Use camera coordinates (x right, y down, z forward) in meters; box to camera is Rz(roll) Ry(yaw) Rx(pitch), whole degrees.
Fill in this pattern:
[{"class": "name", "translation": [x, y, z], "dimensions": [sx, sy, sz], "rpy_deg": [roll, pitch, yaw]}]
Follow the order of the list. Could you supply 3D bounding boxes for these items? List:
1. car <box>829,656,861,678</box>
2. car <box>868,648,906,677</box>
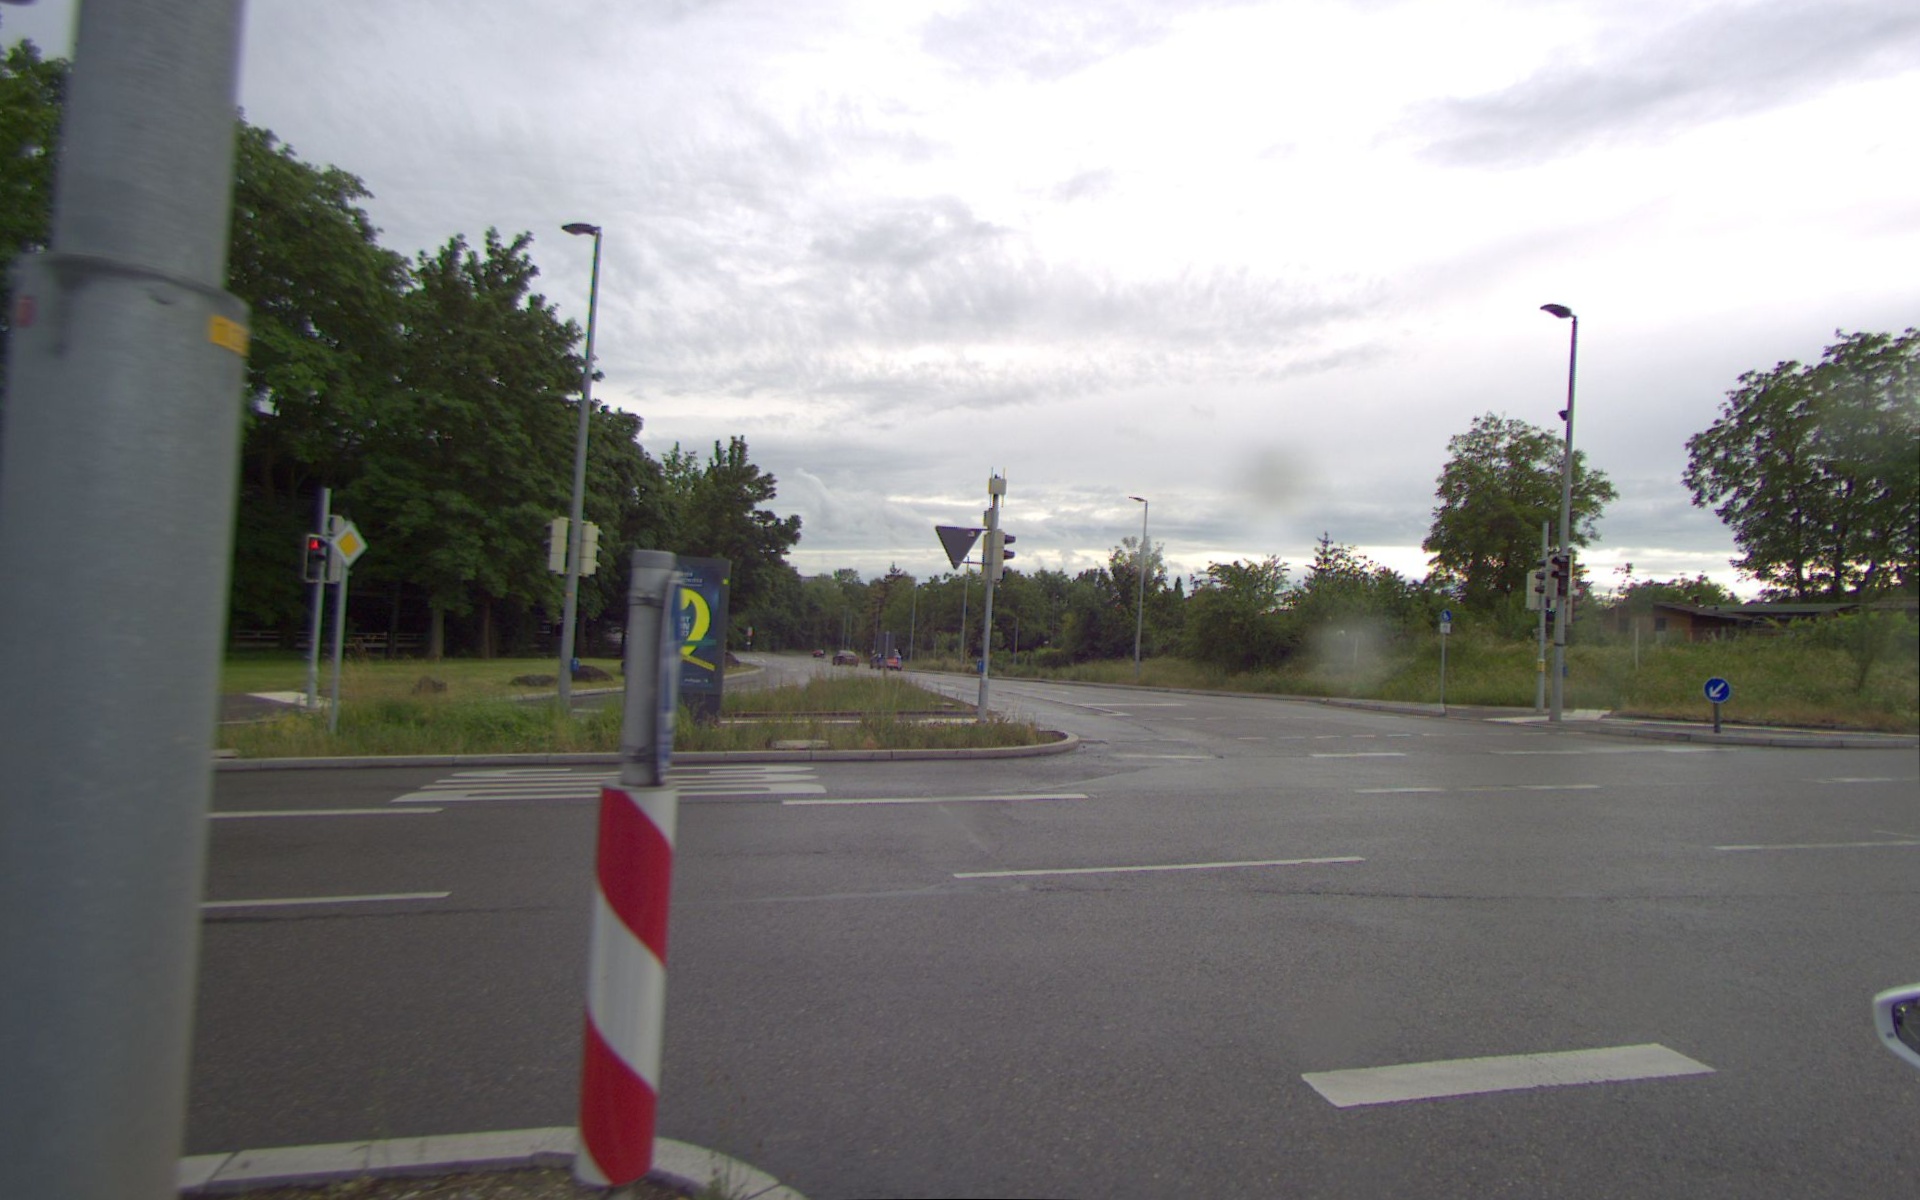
[{"class": "car", "translation": [-10.238, 5.981, 89.498], "dimensions": [2.137, 1.603, 4.650], "rpy_deg": [3, -1, -15]}, {"class": "car", "translation": [-5.225, 4.451, 71.427], "dimensions": [2.047, 1.741, 4.188], "rpy_deg": [3, -1, -13]}]
